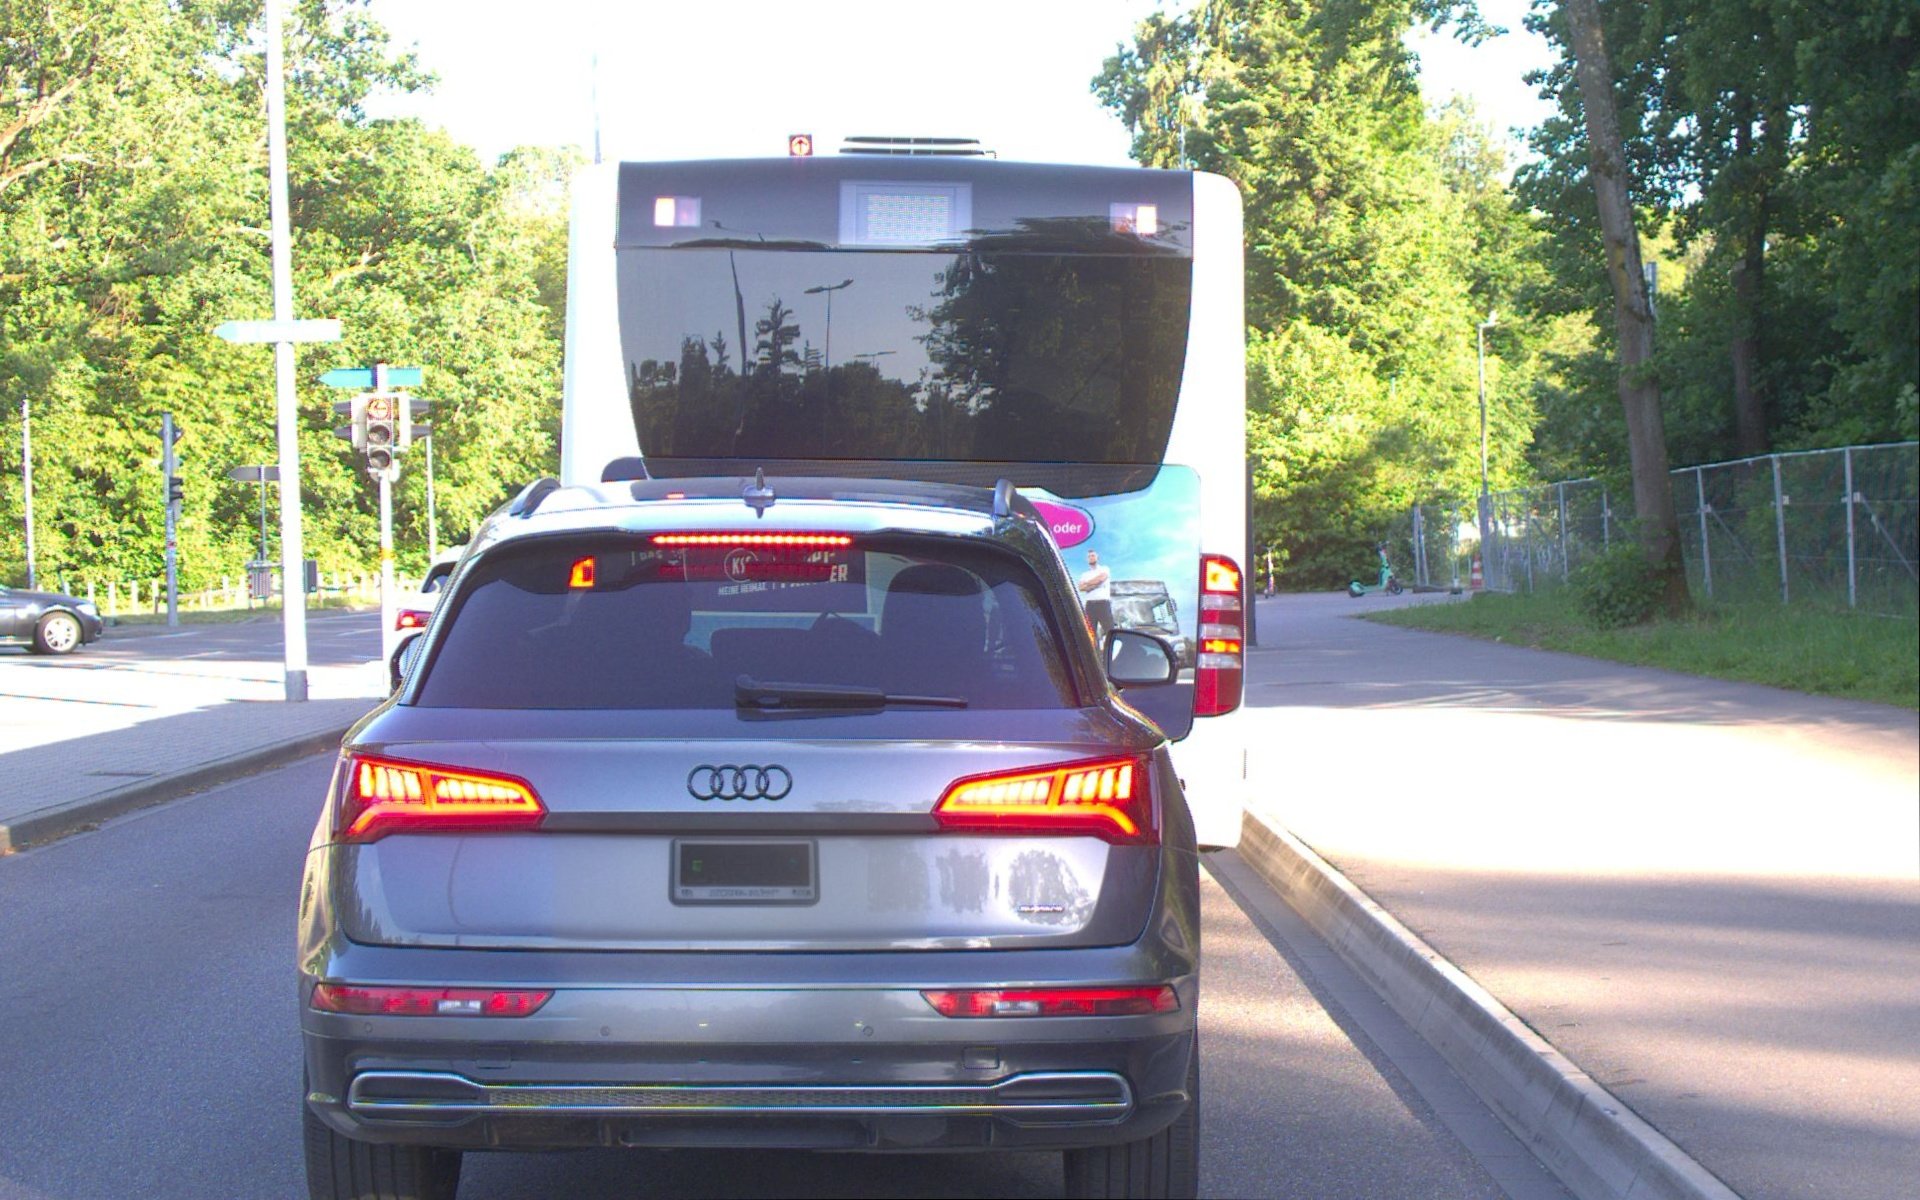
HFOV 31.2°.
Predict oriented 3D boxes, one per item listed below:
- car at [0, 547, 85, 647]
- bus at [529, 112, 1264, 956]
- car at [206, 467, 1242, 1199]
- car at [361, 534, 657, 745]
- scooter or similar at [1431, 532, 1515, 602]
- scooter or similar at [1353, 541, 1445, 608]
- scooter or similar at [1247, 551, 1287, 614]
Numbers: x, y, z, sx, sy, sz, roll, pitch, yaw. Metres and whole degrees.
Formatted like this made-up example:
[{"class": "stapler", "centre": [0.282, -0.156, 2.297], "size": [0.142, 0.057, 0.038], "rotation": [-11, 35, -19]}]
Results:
[{"class": "car", "centre": [-14.798, -0.002, 49.297], "size": [4.101, 1.382, 1.752], "rotation": [-2, 1, -23]}, {"class": "bus", "centre": [-0.277, -0.269, 16.826], "size": [2.594, 2.978, 9.327], "rotation": [0, 0, -1]}, {"class": "car", "centre": [-0.460, 0.541, 8.336], "size": [1.898, 1.626, 4.000], "rotation": [0, 1, -1]}, {"class": "car", "centre": [-3.512, 0.258, 27.418], "size": [1.836, 1.513, 4.000], "rotation": [-2, 1, -1]}, {"class": "scooter or similar", "centre": [11.795, -0.753, 79.130], "size": [0.539, 1.562, 2.022], "rotation": [-3, 1, -40]}, {"class": "scooter or similar", "centre": [9.936, -0.576, 77.834], "size": [2.015, 1.439, 0.606], "rotation": [-2, 1, -25]}, {"class": "scooter or similar", "centre": [7.193, -0.423, 80.639], "size": [0.508, 1.439, 2.023], "rotation": [-2, 1, -6]}]
